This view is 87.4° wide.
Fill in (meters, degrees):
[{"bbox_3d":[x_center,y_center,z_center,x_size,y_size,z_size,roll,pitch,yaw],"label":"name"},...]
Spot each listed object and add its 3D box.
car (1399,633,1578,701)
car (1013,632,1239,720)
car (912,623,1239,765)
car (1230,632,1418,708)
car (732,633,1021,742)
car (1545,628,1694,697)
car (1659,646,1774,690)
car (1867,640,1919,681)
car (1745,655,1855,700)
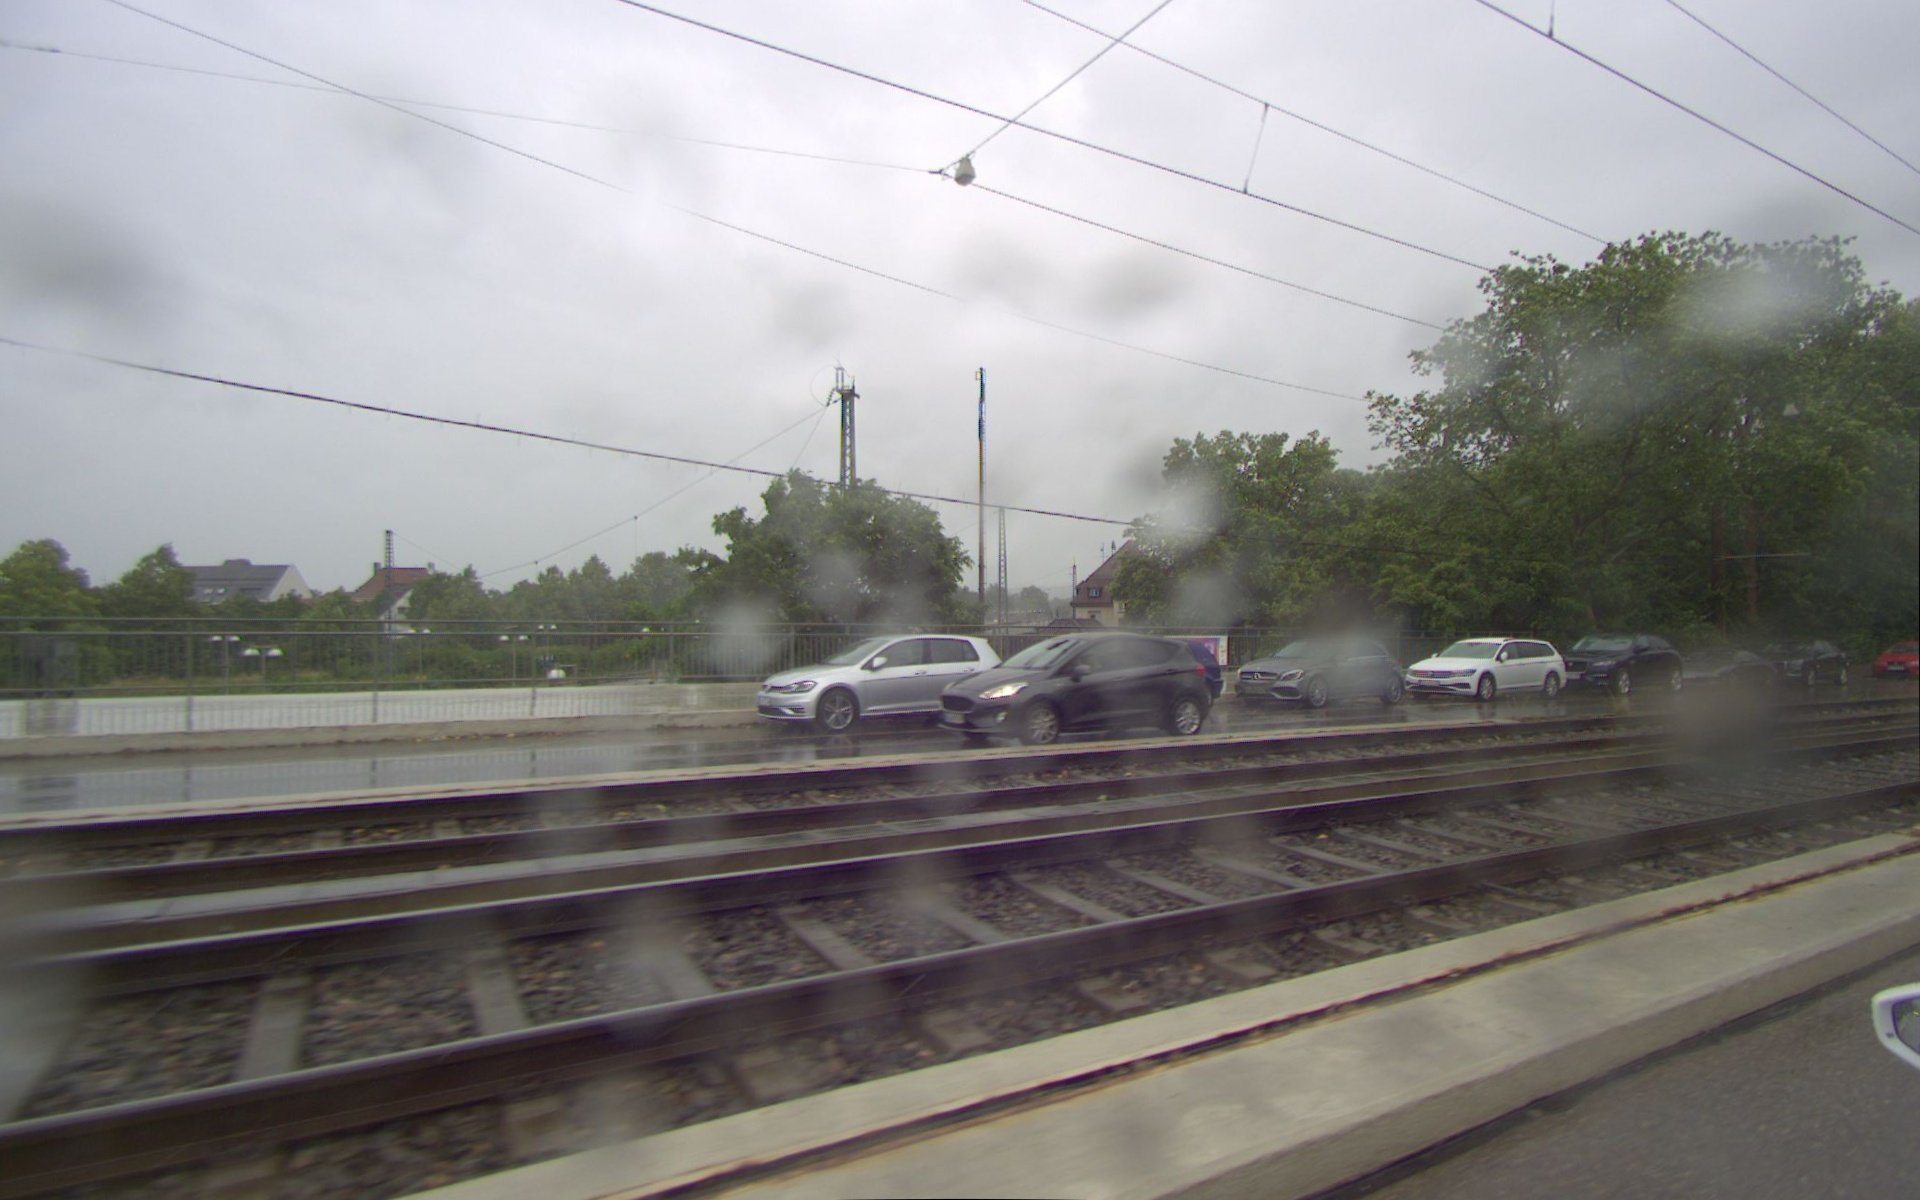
[{"bbox_3d":[12.892,1.600,24.403,4.838,1.418,1.499,0,-6,-32],"label":"car"},{"bbox_3d":[3.159,1.354,18.776,4.234,1.419,1.498,0,-2,-32],"label":"car"},{"bbox_3d":[1.639,1.169,13.817,4.213,1.387,1.807,-3,3,-30],"label":"car"},{"bbox_3d":[7.763,1.423,21.270,4.364,1.419,1.496,0,-3,-35],"label":"car"},{"bbox_3d":[-1.296,1.317,16.151,4.270,1.475,1.854,0,-2,-32],"label":"car"},{"bbox_3d":[18.001,1.650,27.351,4.779,1.694,1.498,0,-2,-32],"label":"car"},{"bbox_3d":[23.017,2.044,30.544,3.669,1.188,1.499,0,-2,-31],"label":"car"},{"bbox_3d":[37.349,2.339,39.263,4.212,1.461,1.602,0,-2,-31],"label":"car"},{"bbox_3d":[27.914,2.550,33.358,4.046,1.309,1.499,0,-2,-30],"label":"car"}]
